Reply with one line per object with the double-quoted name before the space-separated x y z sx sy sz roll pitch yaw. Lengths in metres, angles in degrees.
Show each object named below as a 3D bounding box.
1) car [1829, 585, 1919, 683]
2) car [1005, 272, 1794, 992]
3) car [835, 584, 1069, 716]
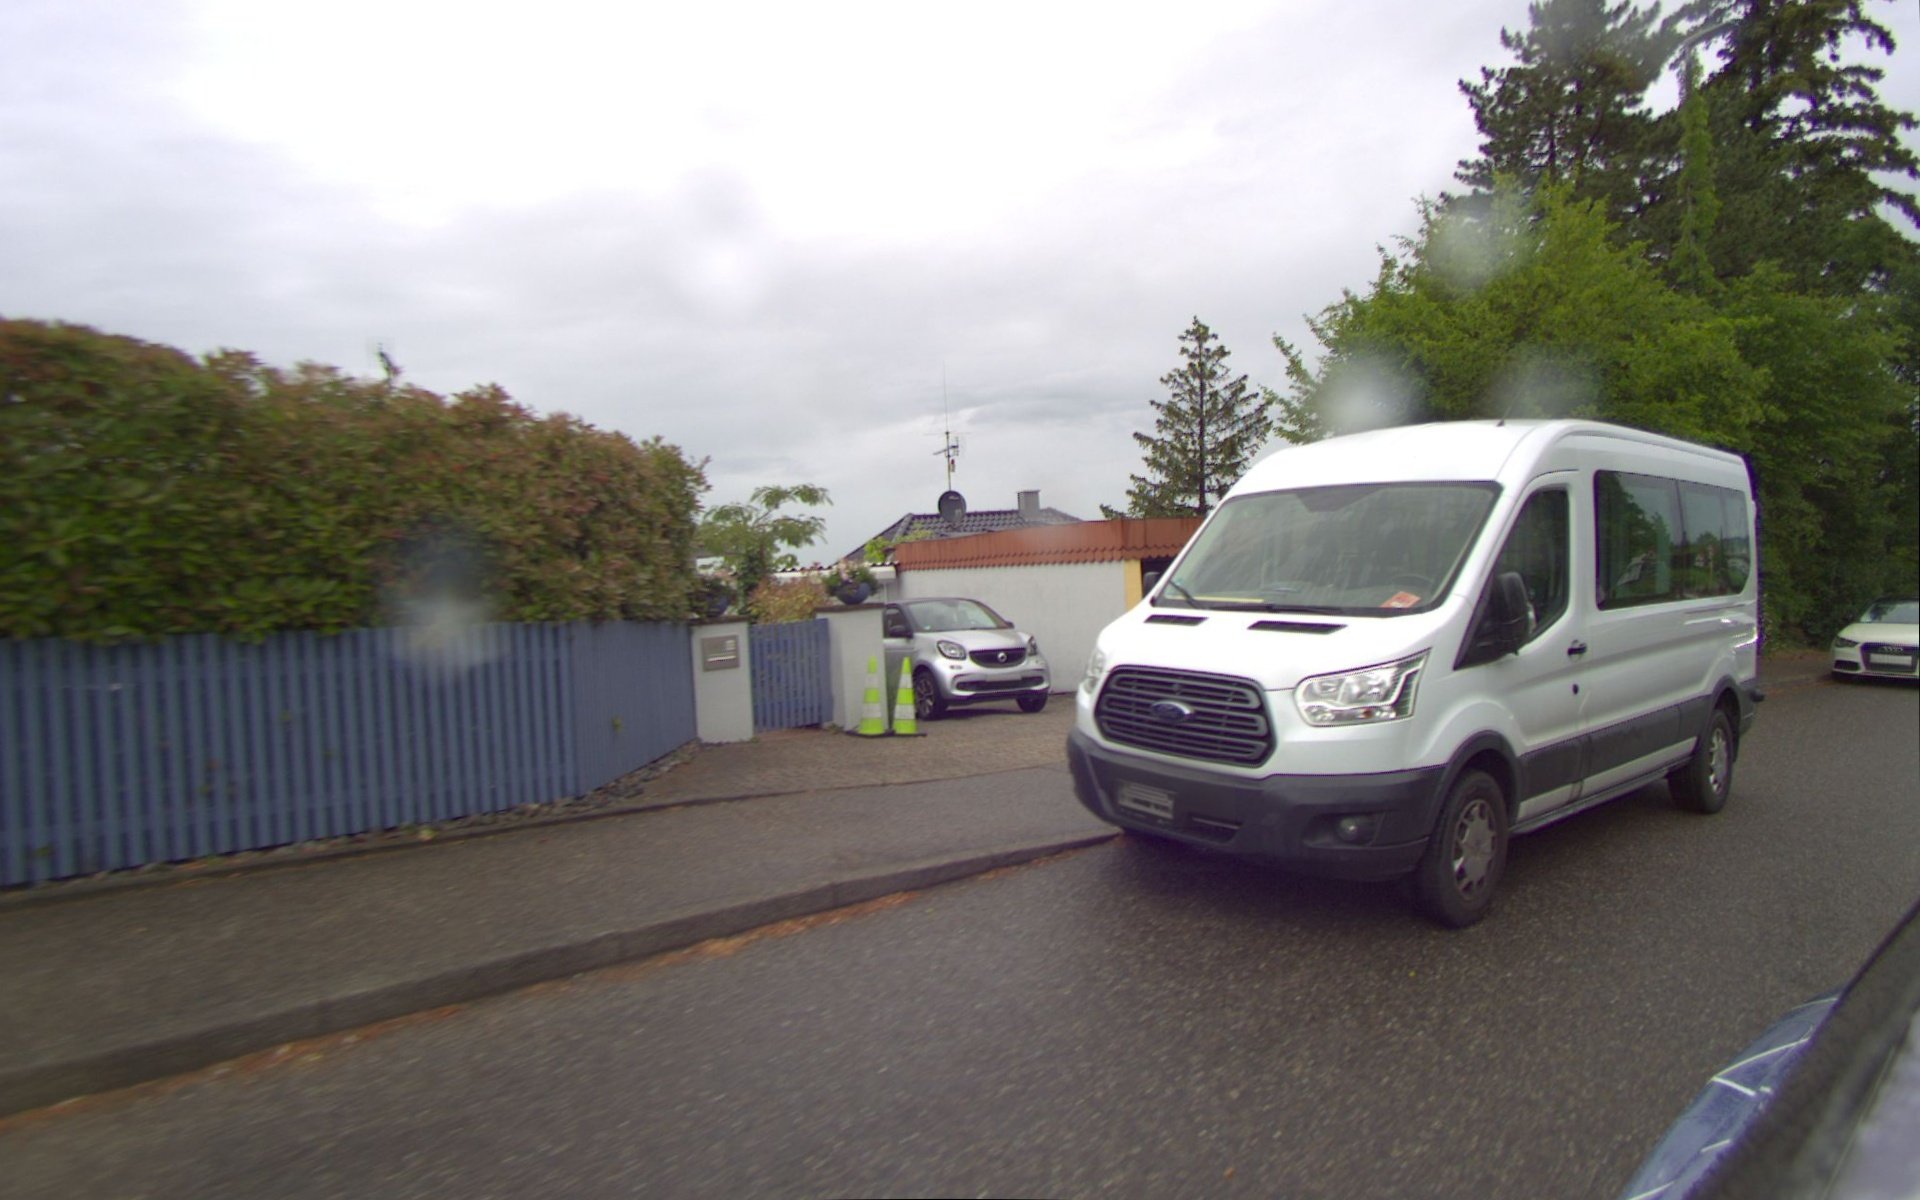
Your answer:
"car" 15.827 0.495 16.418 3.925 1.441 1.755 -1 1 -36
"car" 3.215 0.061 6.385 6.072 2.582 2.077 -1 1 -40
"car" -0.257 0.691 13.264 1.624 1.476 3.598 0 -4 -26
